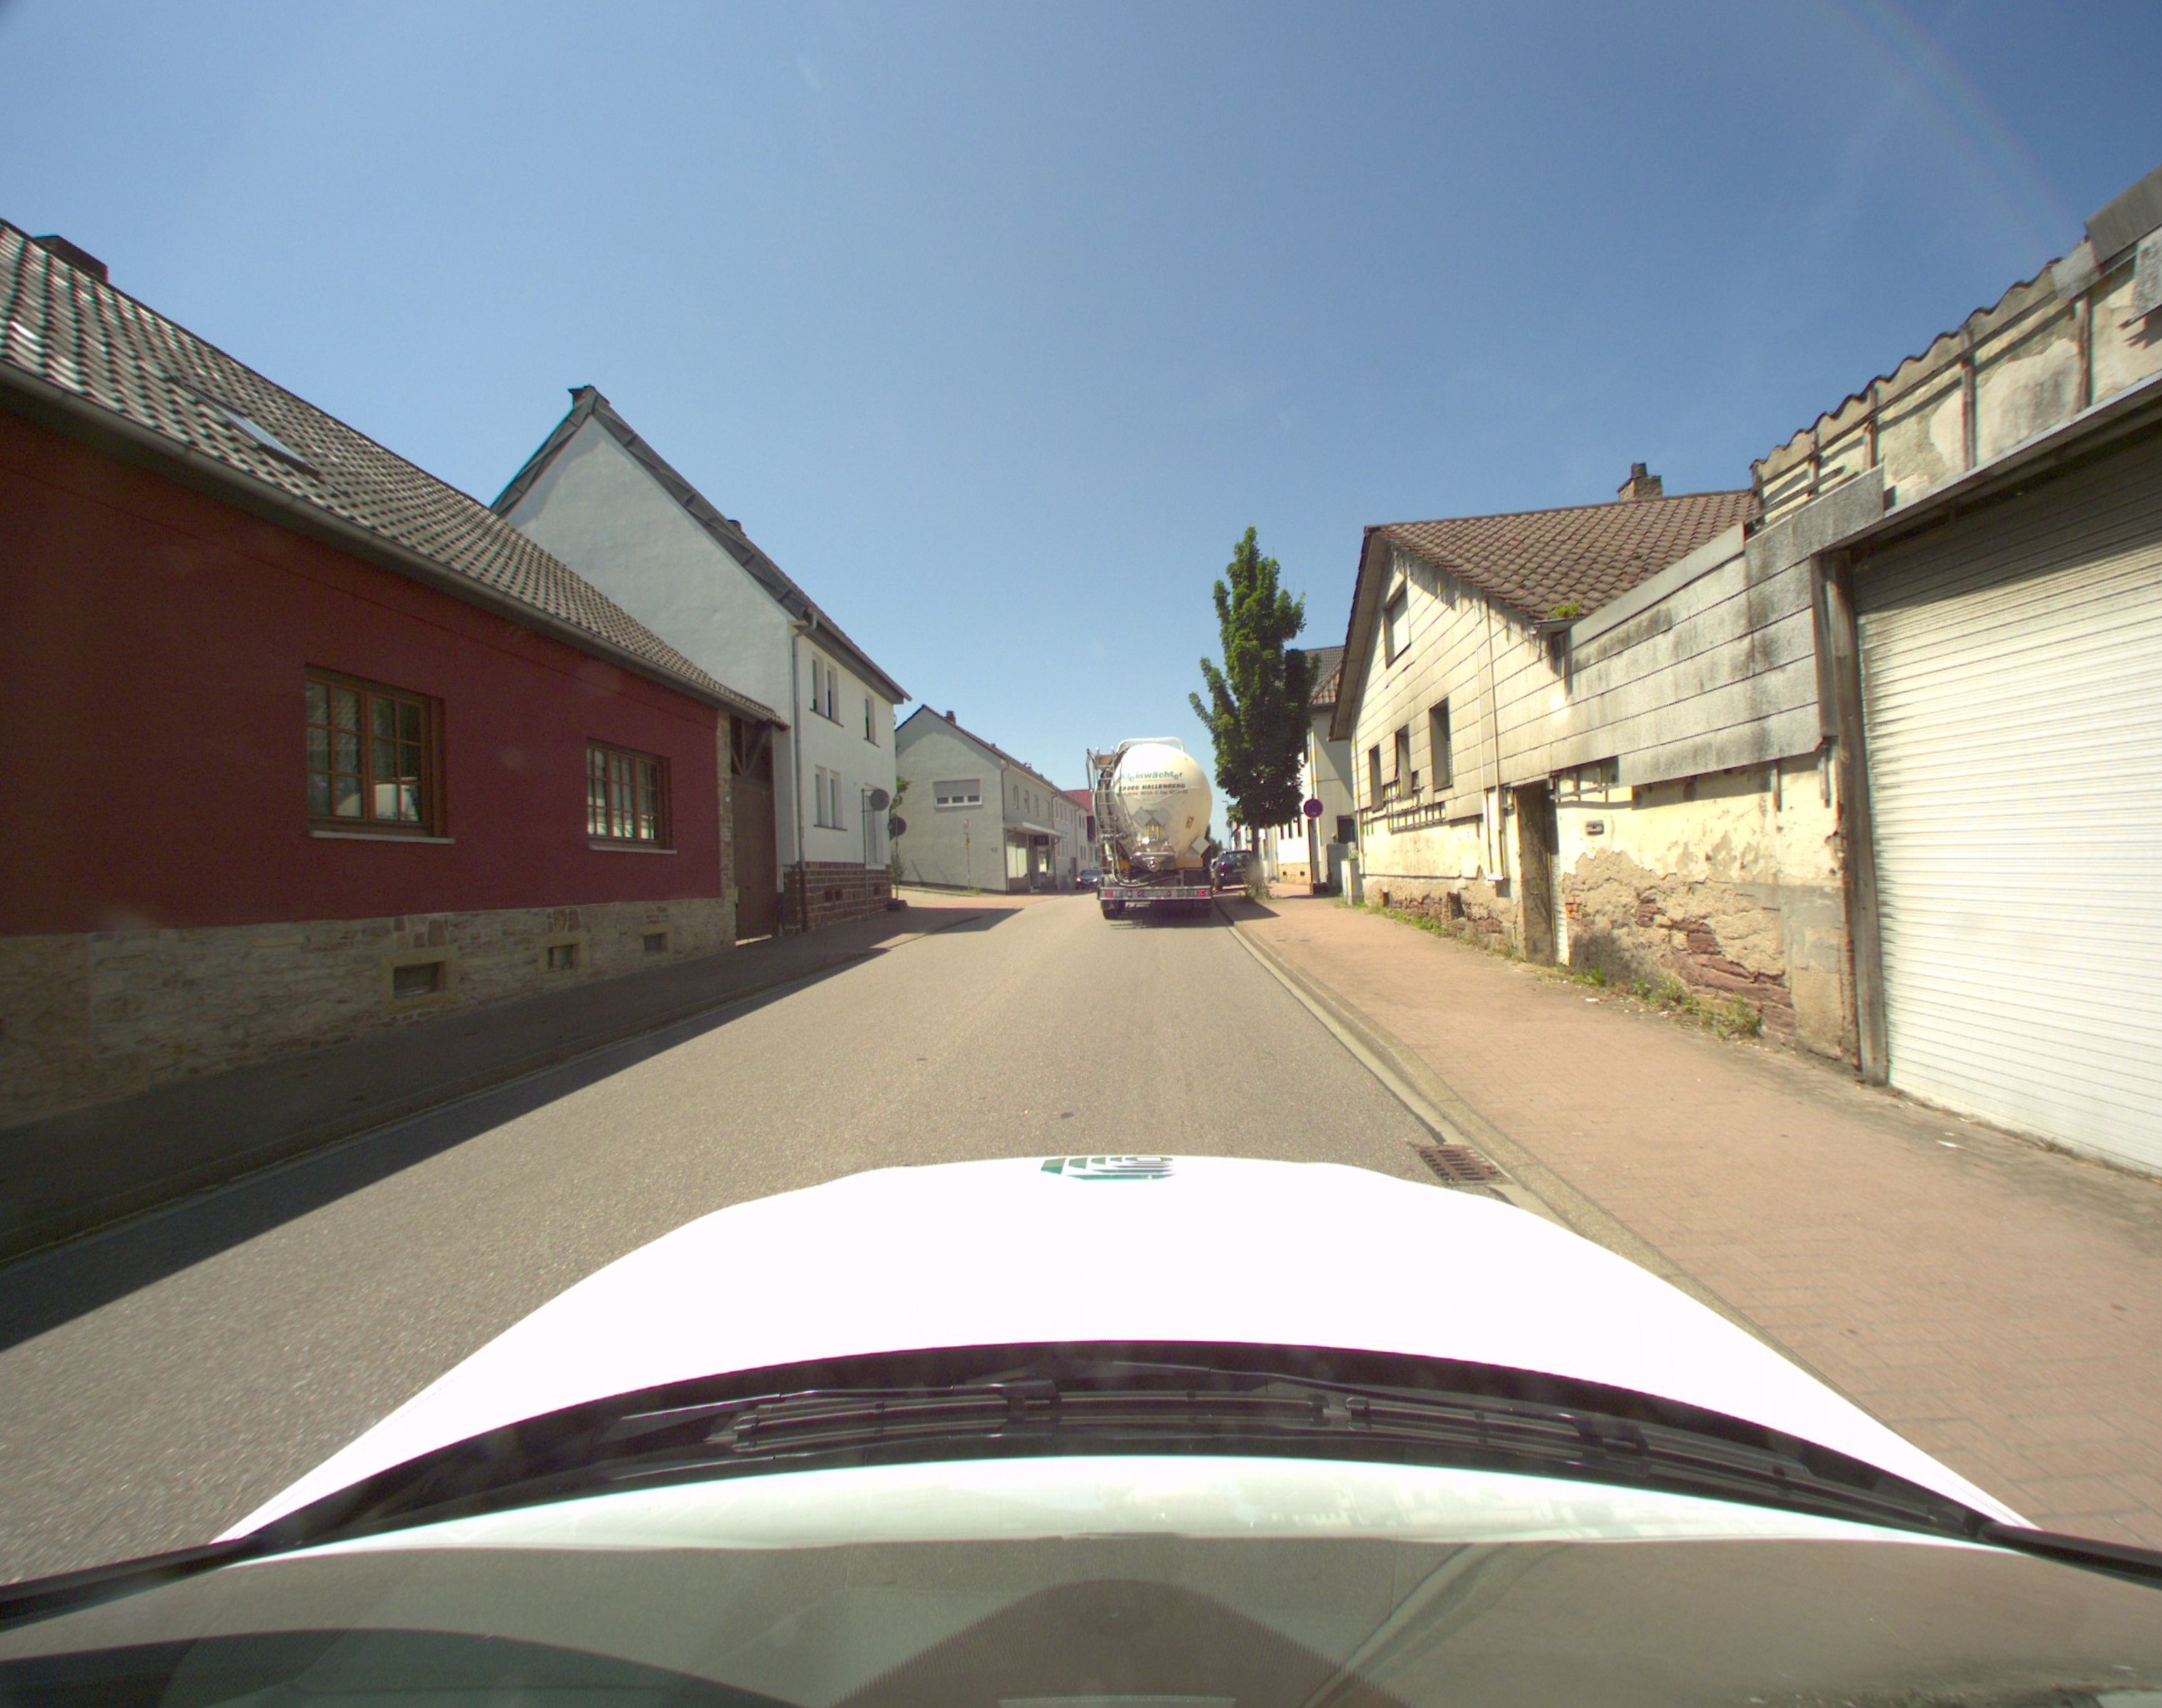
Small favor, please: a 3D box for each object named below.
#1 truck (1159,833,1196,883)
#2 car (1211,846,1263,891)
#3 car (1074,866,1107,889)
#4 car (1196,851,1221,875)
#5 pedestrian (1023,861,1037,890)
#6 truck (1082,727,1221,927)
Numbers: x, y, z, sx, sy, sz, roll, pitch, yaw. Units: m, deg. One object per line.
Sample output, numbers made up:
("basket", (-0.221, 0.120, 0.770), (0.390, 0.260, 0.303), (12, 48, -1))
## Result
("truck", (8.439, 0.289, 71.876), (2.948, 4.069, 9.298), (-2, 0, 6))
("car", (6.427, 0.570, 33.963), (1.792, 1.614, 4.558), (-5, -1, 8))
("car", (0.746, 1.677, 58.636), (1.798, 1.557, 4.574), (-1, -1, 8))
("car", (11.487, 0.825, 73.670), (1.936, 1.970, 4.792), (-4, -2, 6))
("pedestrian", (-2.977, 1.262, 47.421), (0.621, 1.685, 0.772), (-2, -2, 7))
("truck", (1.835, -0.482, 20.292), (2.719, 3.960, 8.155), (-1, -1, 6))
